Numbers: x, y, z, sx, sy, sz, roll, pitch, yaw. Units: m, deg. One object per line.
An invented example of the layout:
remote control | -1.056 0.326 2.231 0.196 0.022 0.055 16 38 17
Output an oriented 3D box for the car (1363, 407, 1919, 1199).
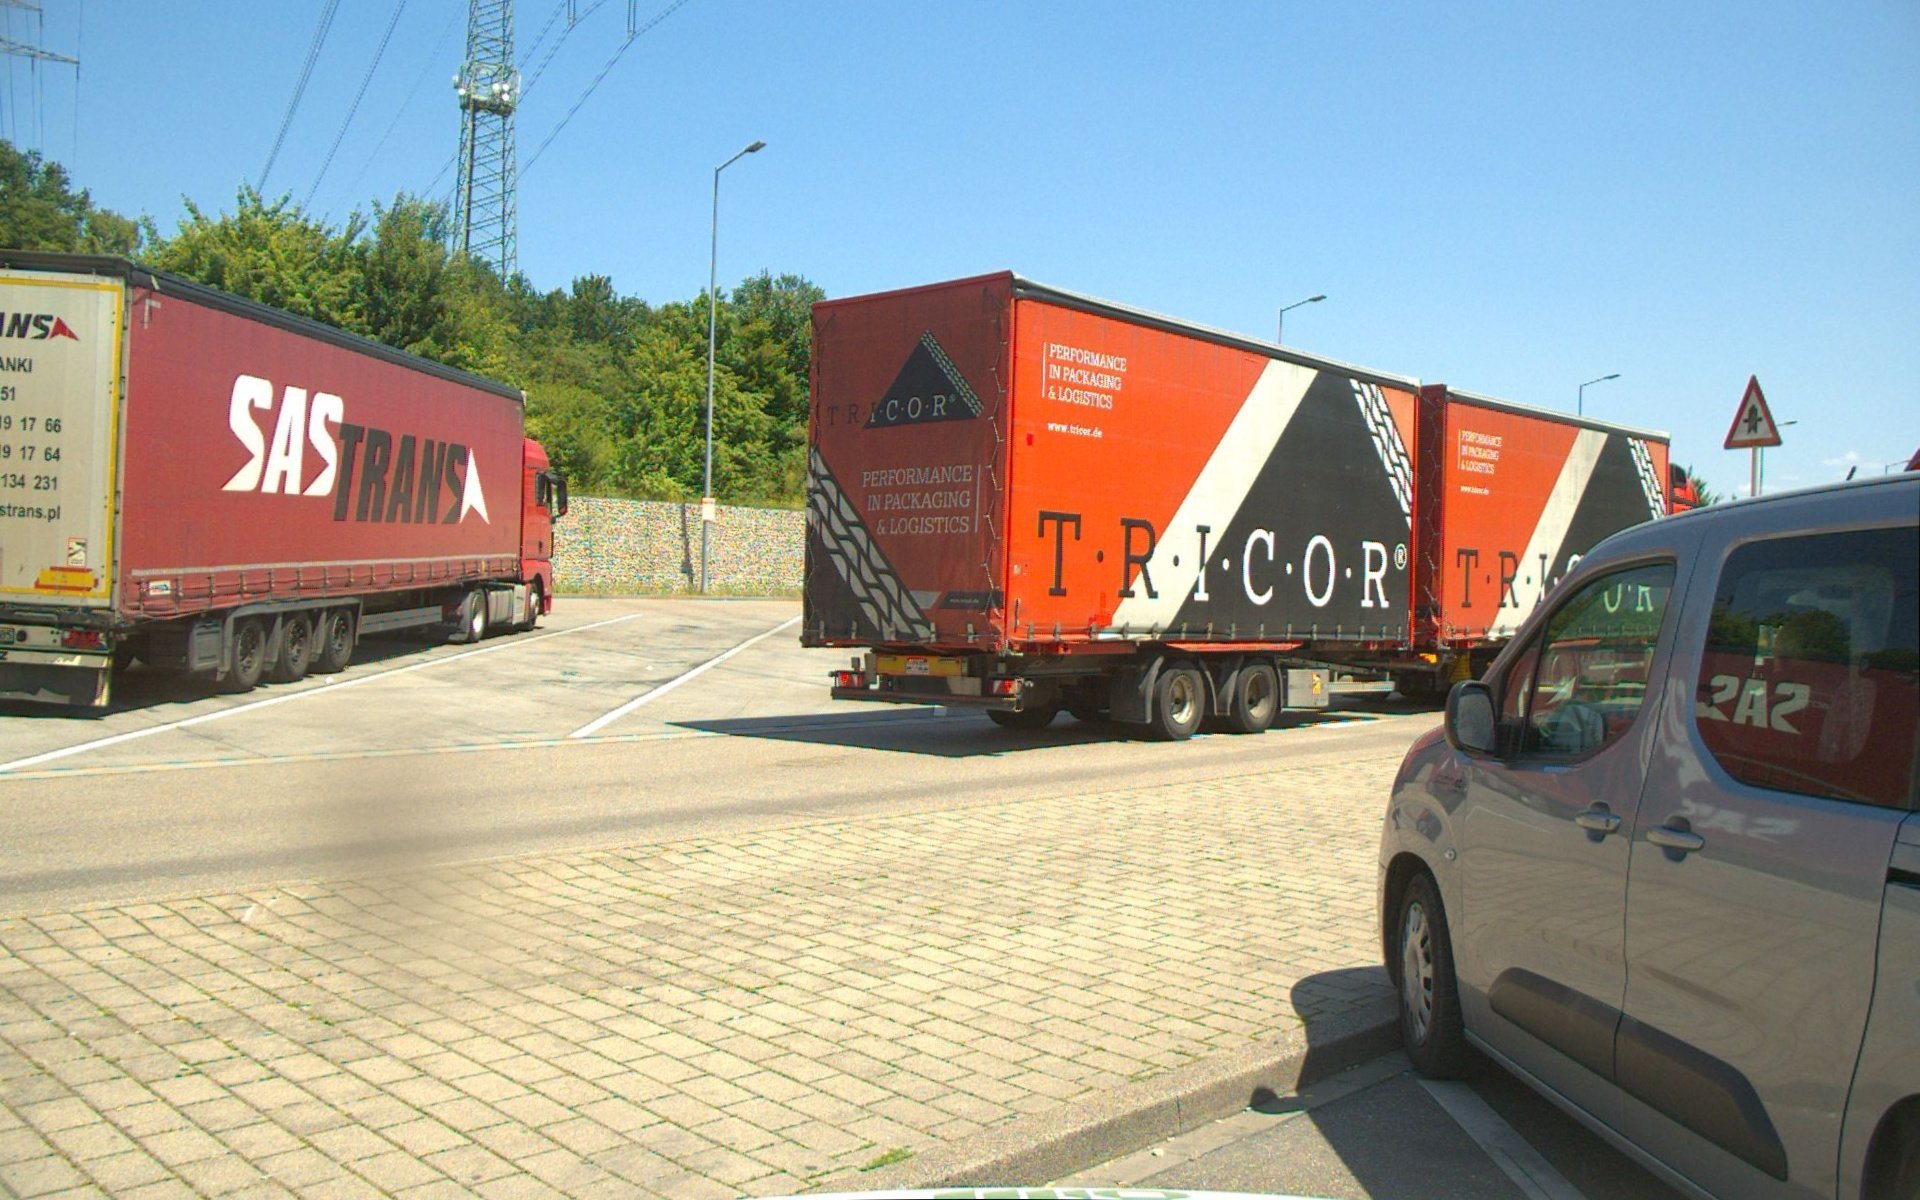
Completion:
car | 2.444 0.558 3.800 1.790 1.784 3.997 1 1 -4

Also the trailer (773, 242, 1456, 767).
trailer | 2.136 -0.835 17.841 2.792 4.332 8.635 2 1 41

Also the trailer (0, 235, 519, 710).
trailer | -8.668 -1.258 21.063 2.694 4.128 13.285 1 1 -1

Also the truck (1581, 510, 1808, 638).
truck | 21.974 -0.808 50.167 2.963 3.497 8.529 1 1 -1

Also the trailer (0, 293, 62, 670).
trailer | -12.397 -1.308 15.434 2.689 4.337 9.733 1 1 0

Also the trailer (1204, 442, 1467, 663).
trailer | 8.220 -1.048 38.594 2.818 4.196 13.569 1 1 -1

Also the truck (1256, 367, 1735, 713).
truck | 8.491 -0.773 24.902 2.647 4.199 10.536 1 1 43

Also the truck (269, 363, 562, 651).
truck | -8.761 -1.419 27.525 2.687 4.152 6.828 1 1 -1

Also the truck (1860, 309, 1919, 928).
truck | 4.990 0.130 4.921 1.952 2.669 5.305 1 1 3
